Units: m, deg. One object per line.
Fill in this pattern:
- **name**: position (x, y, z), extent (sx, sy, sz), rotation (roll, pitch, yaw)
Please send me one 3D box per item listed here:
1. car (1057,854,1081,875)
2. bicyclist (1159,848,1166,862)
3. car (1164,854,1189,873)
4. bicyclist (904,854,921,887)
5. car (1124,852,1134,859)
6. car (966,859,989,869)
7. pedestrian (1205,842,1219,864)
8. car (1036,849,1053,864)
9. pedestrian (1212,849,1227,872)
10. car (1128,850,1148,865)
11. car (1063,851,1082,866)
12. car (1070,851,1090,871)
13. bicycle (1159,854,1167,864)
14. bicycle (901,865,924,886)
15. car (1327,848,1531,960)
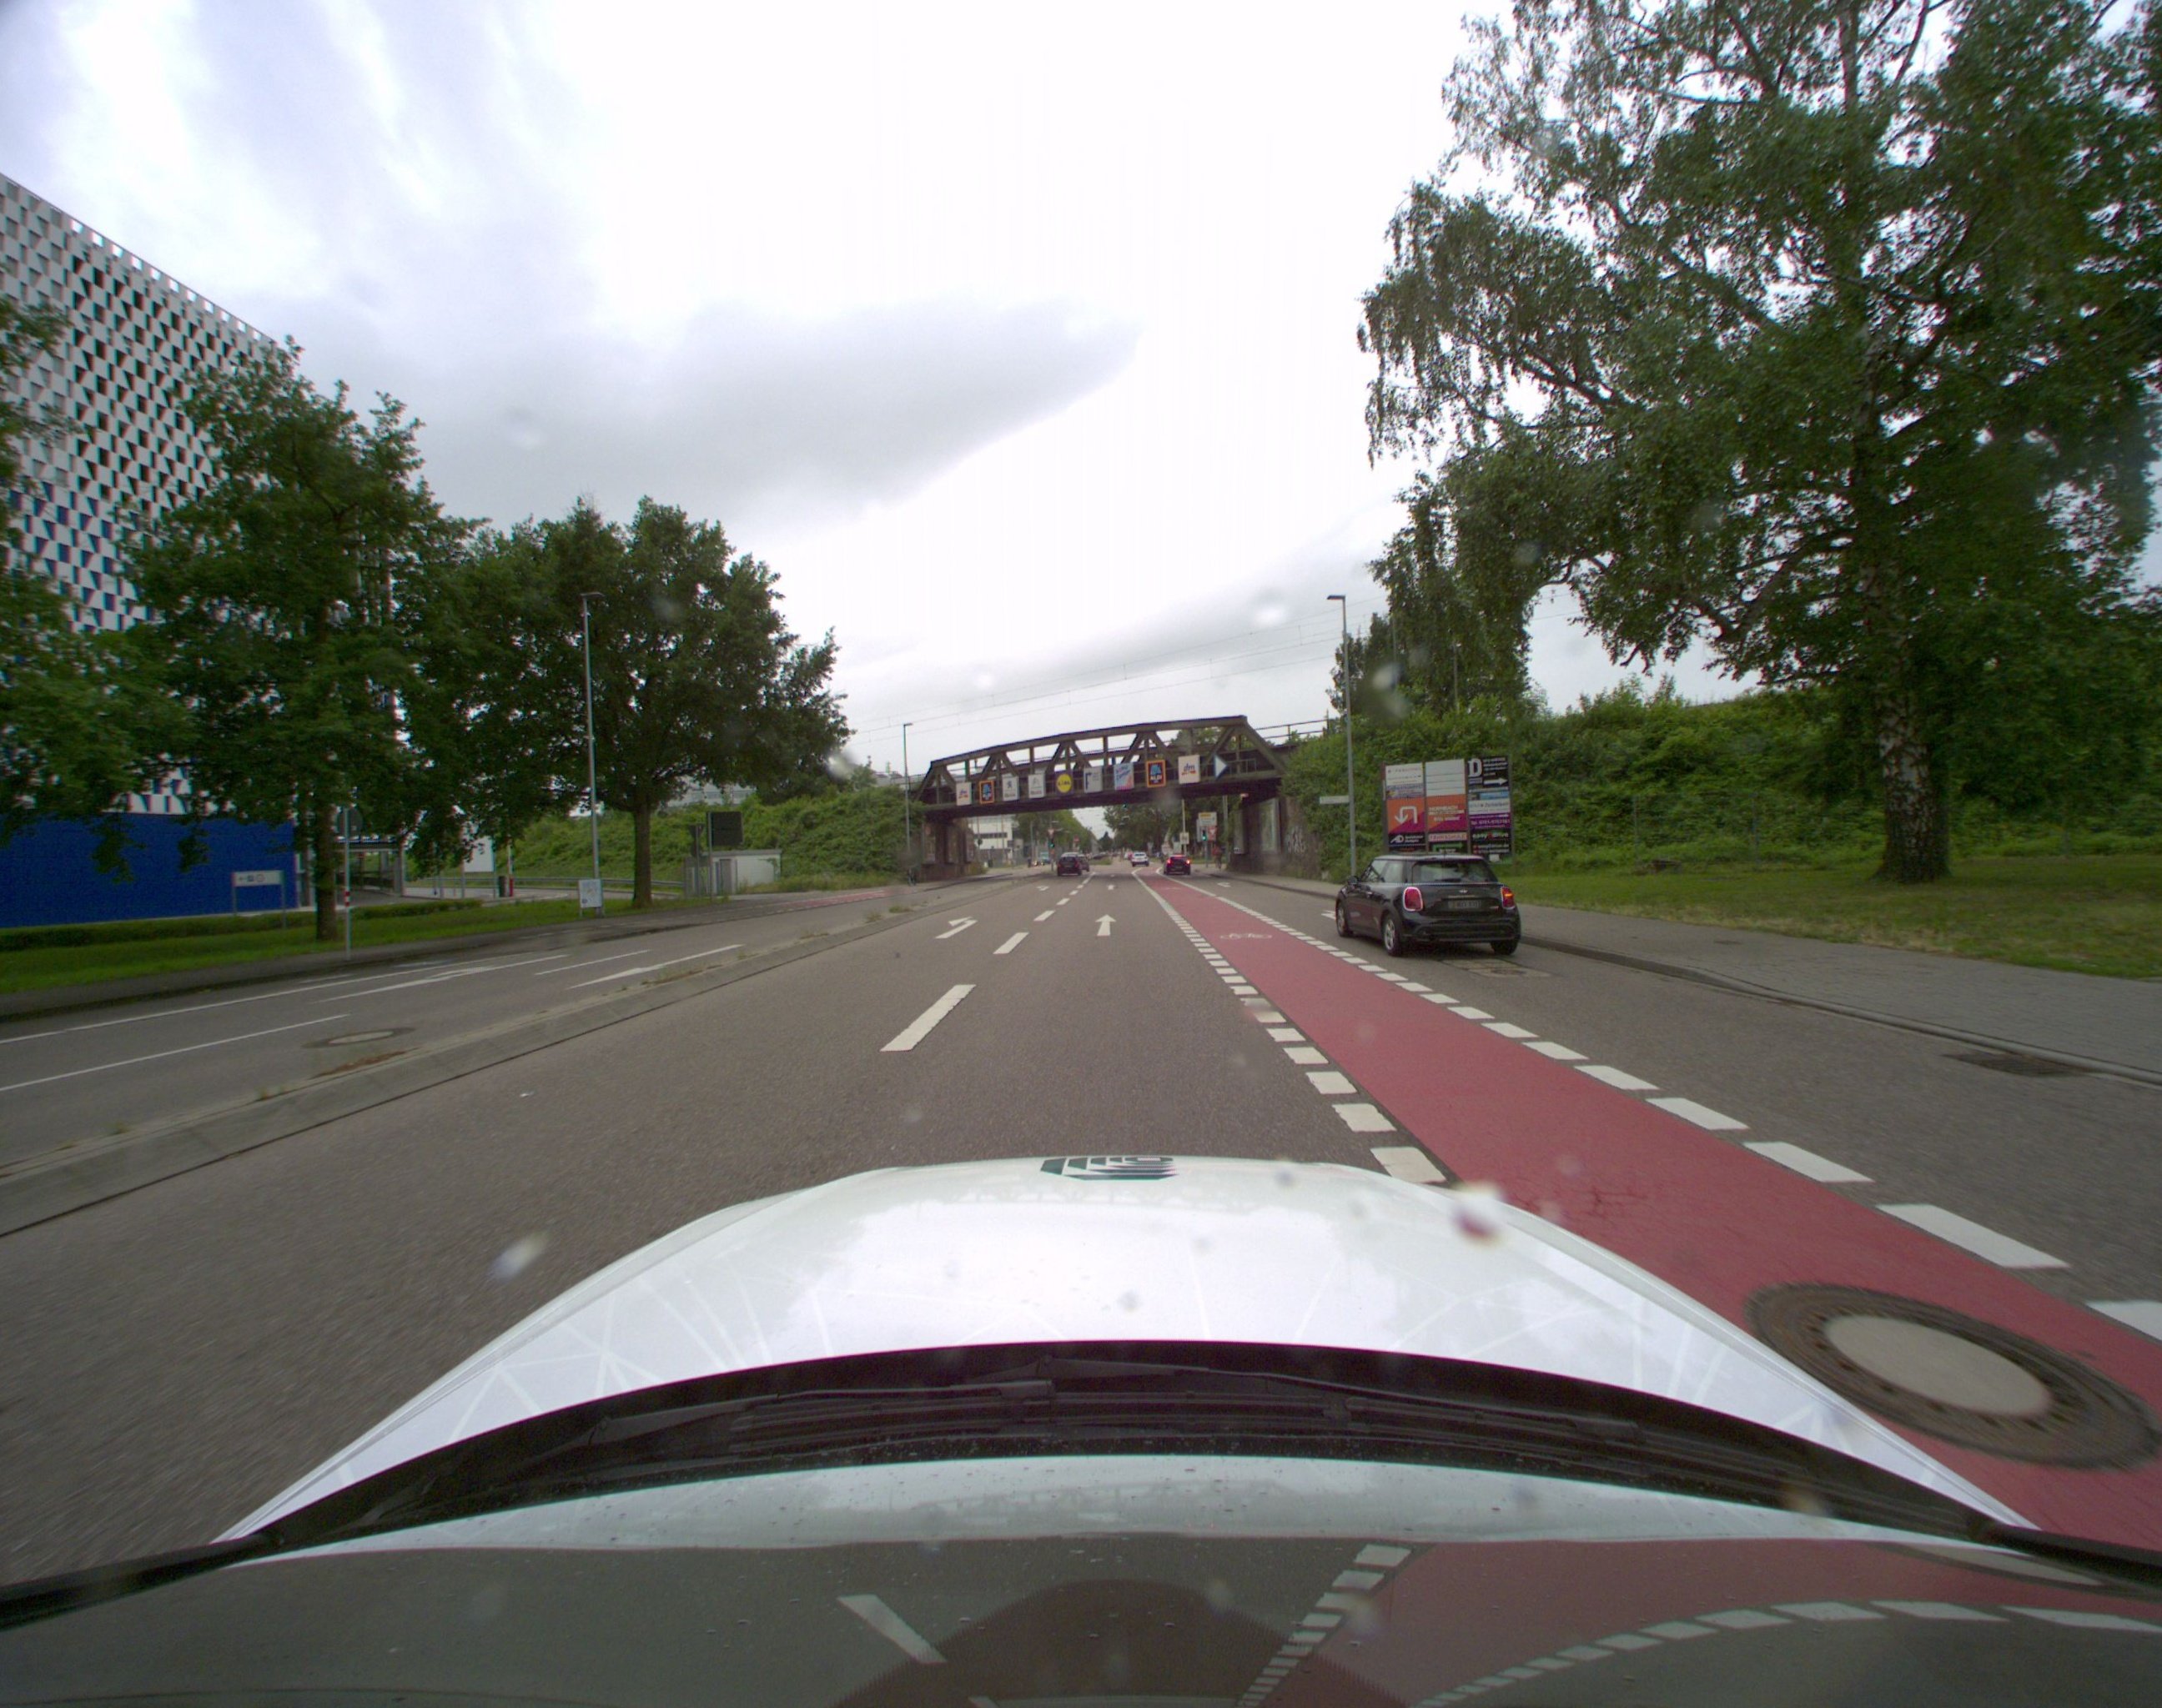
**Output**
- **car**: position (-0.893, 0.757, 61.521), extent (1.763, 1.527, 3.668), rotation (-1, 0, -1)
- **bicyclist**: position (10.329, 0.138, 103.087), extent (0.813, 1.630, 1.235), rotation (-3, 0, 2)
- **car**: position (6.784, 0.674, 57.903), extent (1.639, 1.281, 3.424), rotation (-1, 0, 5)
- **bicyclist**: position (-9.913, 0.966, 47.926), extent (0.699, 1.874, 1.020), rotation (-1, -1, 2)
- **car**: position (10.624, 0.389, 179.668), extent (1.790, 1.513, 3.704), rotation (-1, 0, -1)
- **car**: position (-21.128, 2.055, 166.251), extent (4.513, 1.634, 1.912), rotation (-3, 0, -1)
- **pedestrian**: position (10.528, -0.070, 65.591), extent (0.863, 1.759, 0.792), rotation (-2, 0, 27)
- **car**: position (-7.155, 0.555, 160.155), extent (2.317, 2.826, 5.957), rotation (-3, 0, 5)
- **pedestrian**: position (10.315, 0.479, 60.659), extent (0.734, 1.640, 0.784), rotation (-2, 0, 35)
- **car**: position (6.326, 0.344, 90.762), extent (1.818, 1.600, 3.774), rotation (-1, 0, -1)
- **car**: position (-0.970, 0.450, 87.575), extent (1.956, 1.527, 5.007), rotation (-1, 0, -2)
- **car**: position (-0.102, 0.618, 73.087), extent (1.768, 1.652, 3.668), rotation (-1, 0, -1)
- **bicycle**: position (10.356, 0.631, 103.087), extent (0.813, 1.212, 2.684), rotation (-3, 0, 2)
- **bicycle**: position (-9.908, 1.231, 47.944), extent (0.710, 1.187, 2.372), rotation (-1, -1, 2)
- **car**: position (5.094, 0.635, 12.480), extent (1.672, 1.431, 3.777), rotation (-1, 0, 3)
